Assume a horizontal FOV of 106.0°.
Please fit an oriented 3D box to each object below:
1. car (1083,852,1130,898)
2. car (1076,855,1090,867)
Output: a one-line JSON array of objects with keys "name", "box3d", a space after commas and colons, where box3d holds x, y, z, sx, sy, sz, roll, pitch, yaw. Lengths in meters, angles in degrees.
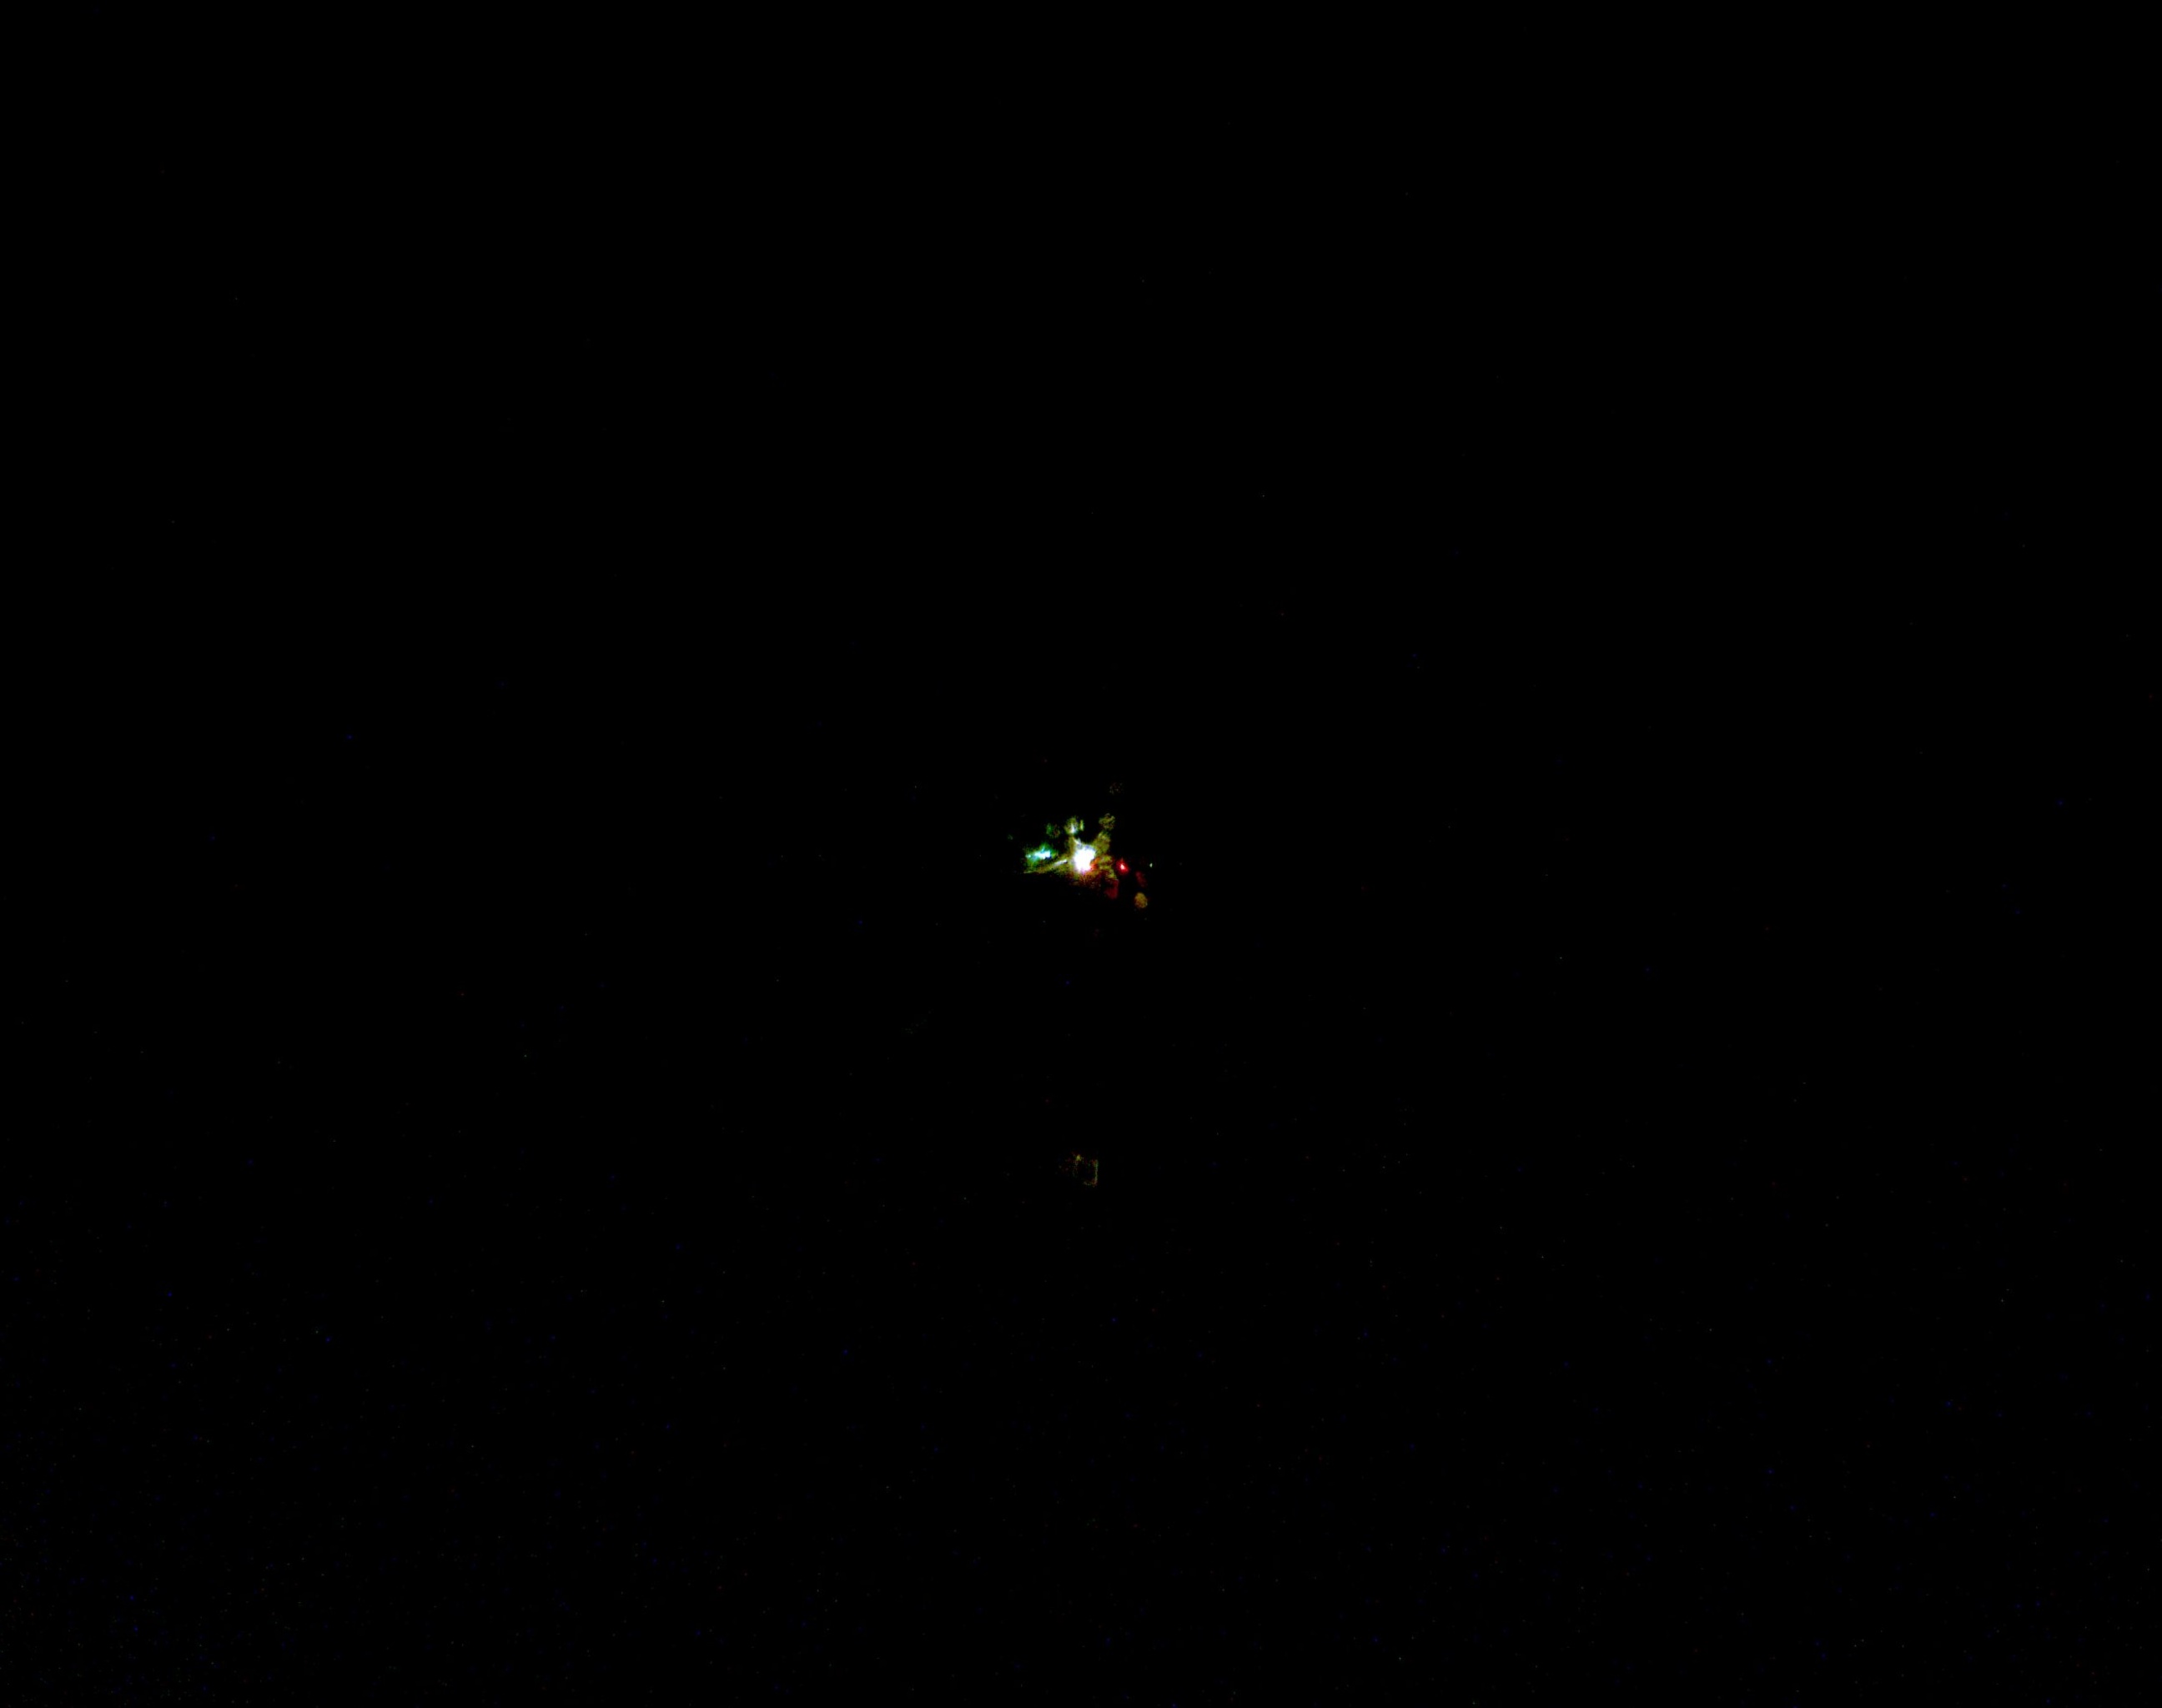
[{"name": "car", "box3d": [1.143, 0.925, 37.845, 1.987, 1.806, 3.918, -3, 2, 1]}, {"name": "car", "box3d": [0.268, 1.092, 127.298, 1.633, 1.581, 3.735, -3, 2, -7]}]
